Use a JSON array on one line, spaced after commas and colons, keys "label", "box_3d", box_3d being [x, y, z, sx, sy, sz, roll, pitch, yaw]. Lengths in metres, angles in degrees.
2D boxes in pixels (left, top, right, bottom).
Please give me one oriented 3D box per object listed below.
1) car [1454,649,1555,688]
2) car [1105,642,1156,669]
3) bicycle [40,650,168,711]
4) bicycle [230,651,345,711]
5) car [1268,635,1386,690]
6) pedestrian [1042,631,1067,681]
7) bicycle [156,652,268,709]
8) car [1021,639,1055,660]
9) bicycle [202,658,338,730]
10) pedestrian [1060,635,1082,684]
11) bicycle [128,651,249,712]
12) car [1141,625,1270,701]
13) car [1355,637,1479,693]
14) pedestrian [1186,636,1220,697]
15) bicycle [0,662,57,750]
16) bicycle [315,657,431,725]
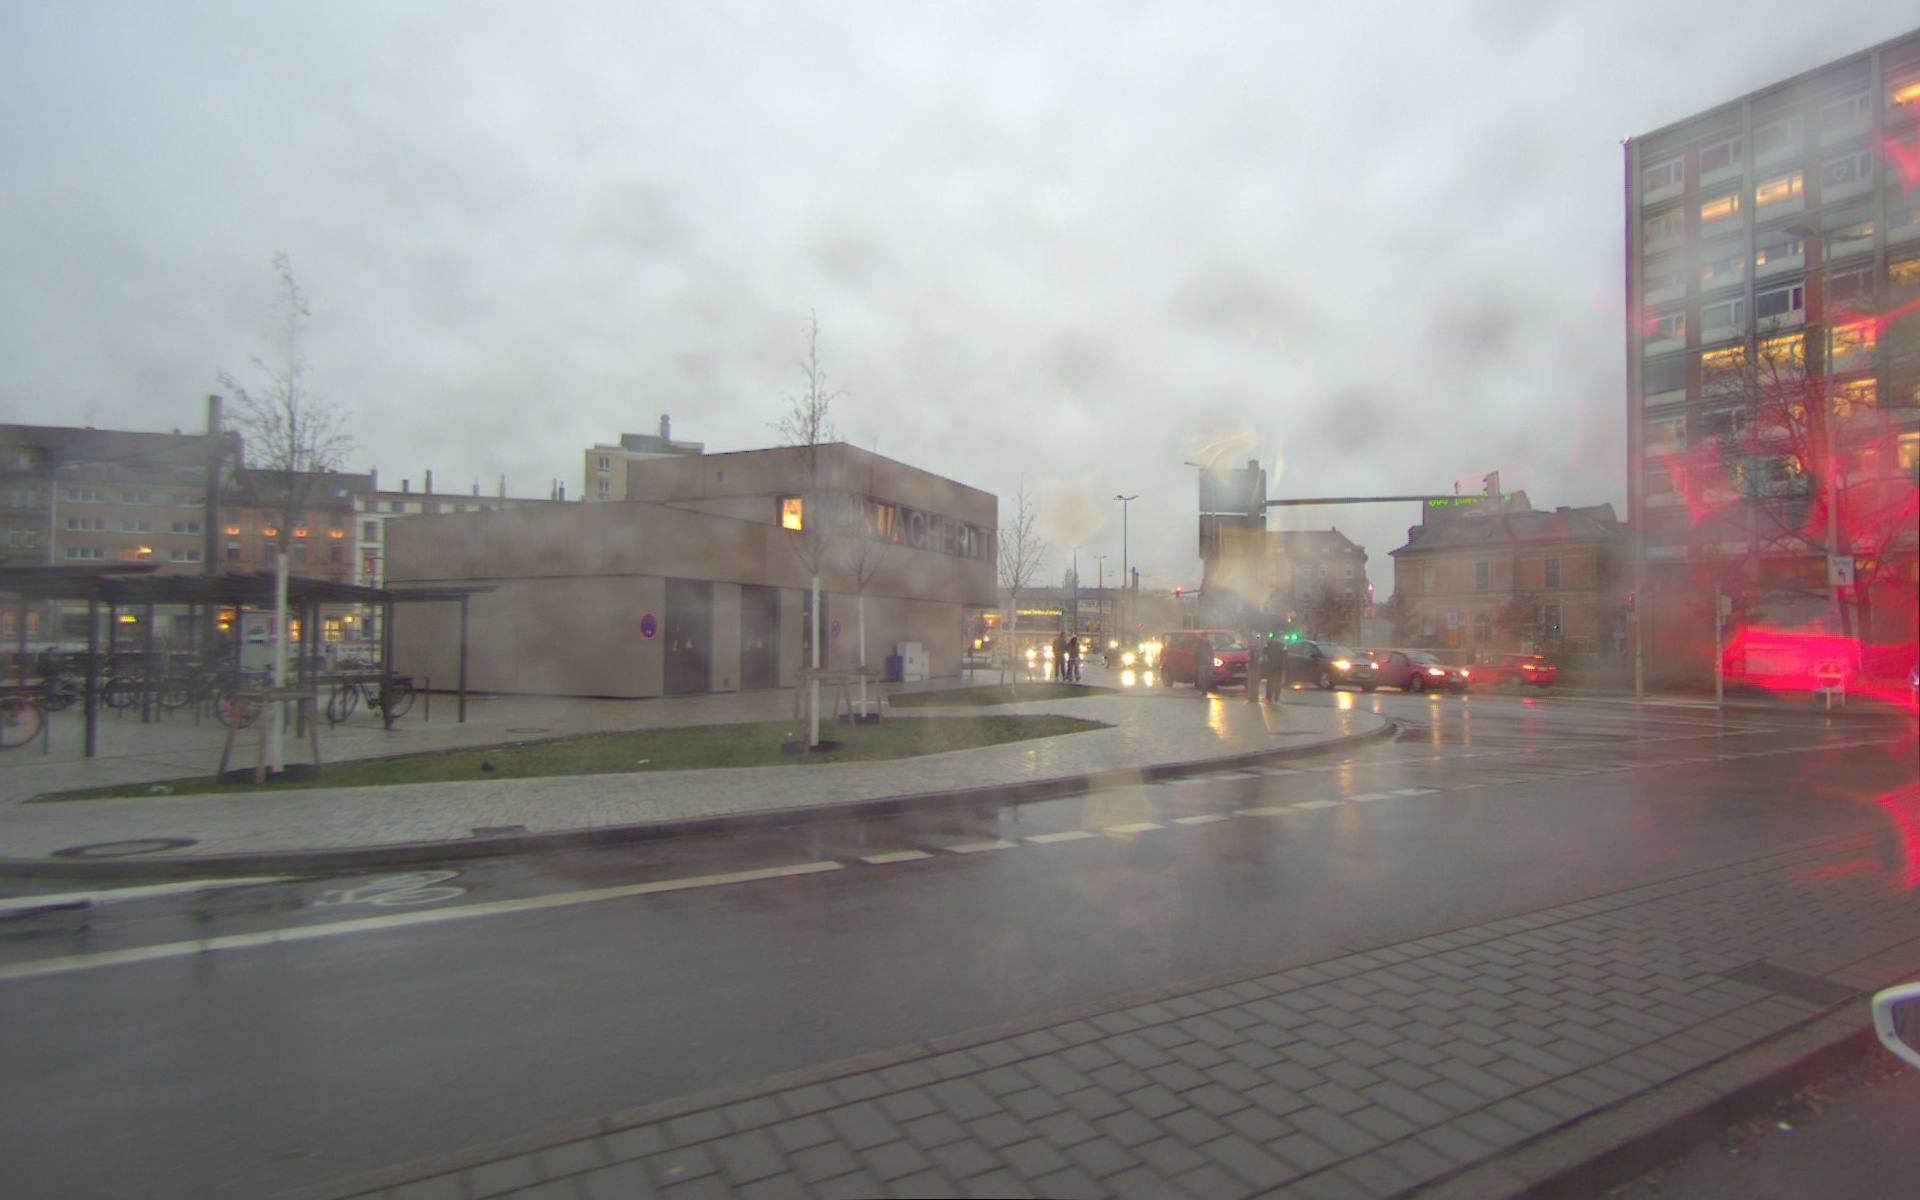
[{"label": "car", "box_3d": [23.346, 2.927, 43.198, 1.540, 1.416, 3.788, 3, -2, -17]}, {"label": "car", "box_3d": [10.515, 3.400, 62.062, 1.579, 1.466, 3.636, 3, -2, -17]}, {"label": "bicycle", "box_3d": [-17.551, 1.627, 20.652, 0.541, 1.180, 1.895, 2, -2, 30]}, {"label": "bicycle", "box_3d": [-14.027, 1.669, 21.007, 0.541, 1.180, 1.895, 2, -2, 30]}, {"label": "car", "box_3d": [12.849, 2.156, 35.403, 1.732, 1.706, 4.063, 3, -2, -18]}, {"label": "pedestrian", "box_3d": [3.584, 2.127, 37.988, 0.670, 1.839, 0.692, 3, -1, -16]}, {"label": "bicycle", "box_3d": [-16.581, 1.755, 22.322, 0.541, 1.180, 1.895, 2, -2, 30]}, {"label": "car", "box_3d": [6.314, 4.008, 81.656, 1.578, 1.468, 3.637, 3, -2, -16]}, {"label": "bicycle", "box_3d": [-12.227, 1.638, 17.874, 0.541, 1.180, 1.895, 2, -2, 30]}, {"label": "pedestrian", "box_3d": [4.205, 2.248, 38.086, 0.576, 1.795, 0.610, 3, -1, -16]}, {"label": "bicycle", "box_3d": [-16.007, 1.671, 20.891, 0.541, 1.180, 1.895, 2, -2, 30]}, {"label": "car", "box_3d": [8.284, 2.082, 34.433, 2.220, 2.311, 5.025, 3, -1, -13]}, {"label": "car", "box_3d": [15.975, 2.230, 35.340, 1.731, 1.706, 4.069, 3, -2, -16]}, {"label": "pedestrian", "box_3d": [7.093, 1.930, 29.306, 0.781, 1.719, 0.461, 3, -1, -7]}, {"label": "bicycle", "box_3d": [-13.718, 1.467, 13.759, 0.541, 1.180, 1.895, 2, -2, 30]}, {"label": "bicycle", "box_3d": [-11.138, 1.697, 19.141, 0.540, 1.180, 1.898, 2, -2, 24]}]
